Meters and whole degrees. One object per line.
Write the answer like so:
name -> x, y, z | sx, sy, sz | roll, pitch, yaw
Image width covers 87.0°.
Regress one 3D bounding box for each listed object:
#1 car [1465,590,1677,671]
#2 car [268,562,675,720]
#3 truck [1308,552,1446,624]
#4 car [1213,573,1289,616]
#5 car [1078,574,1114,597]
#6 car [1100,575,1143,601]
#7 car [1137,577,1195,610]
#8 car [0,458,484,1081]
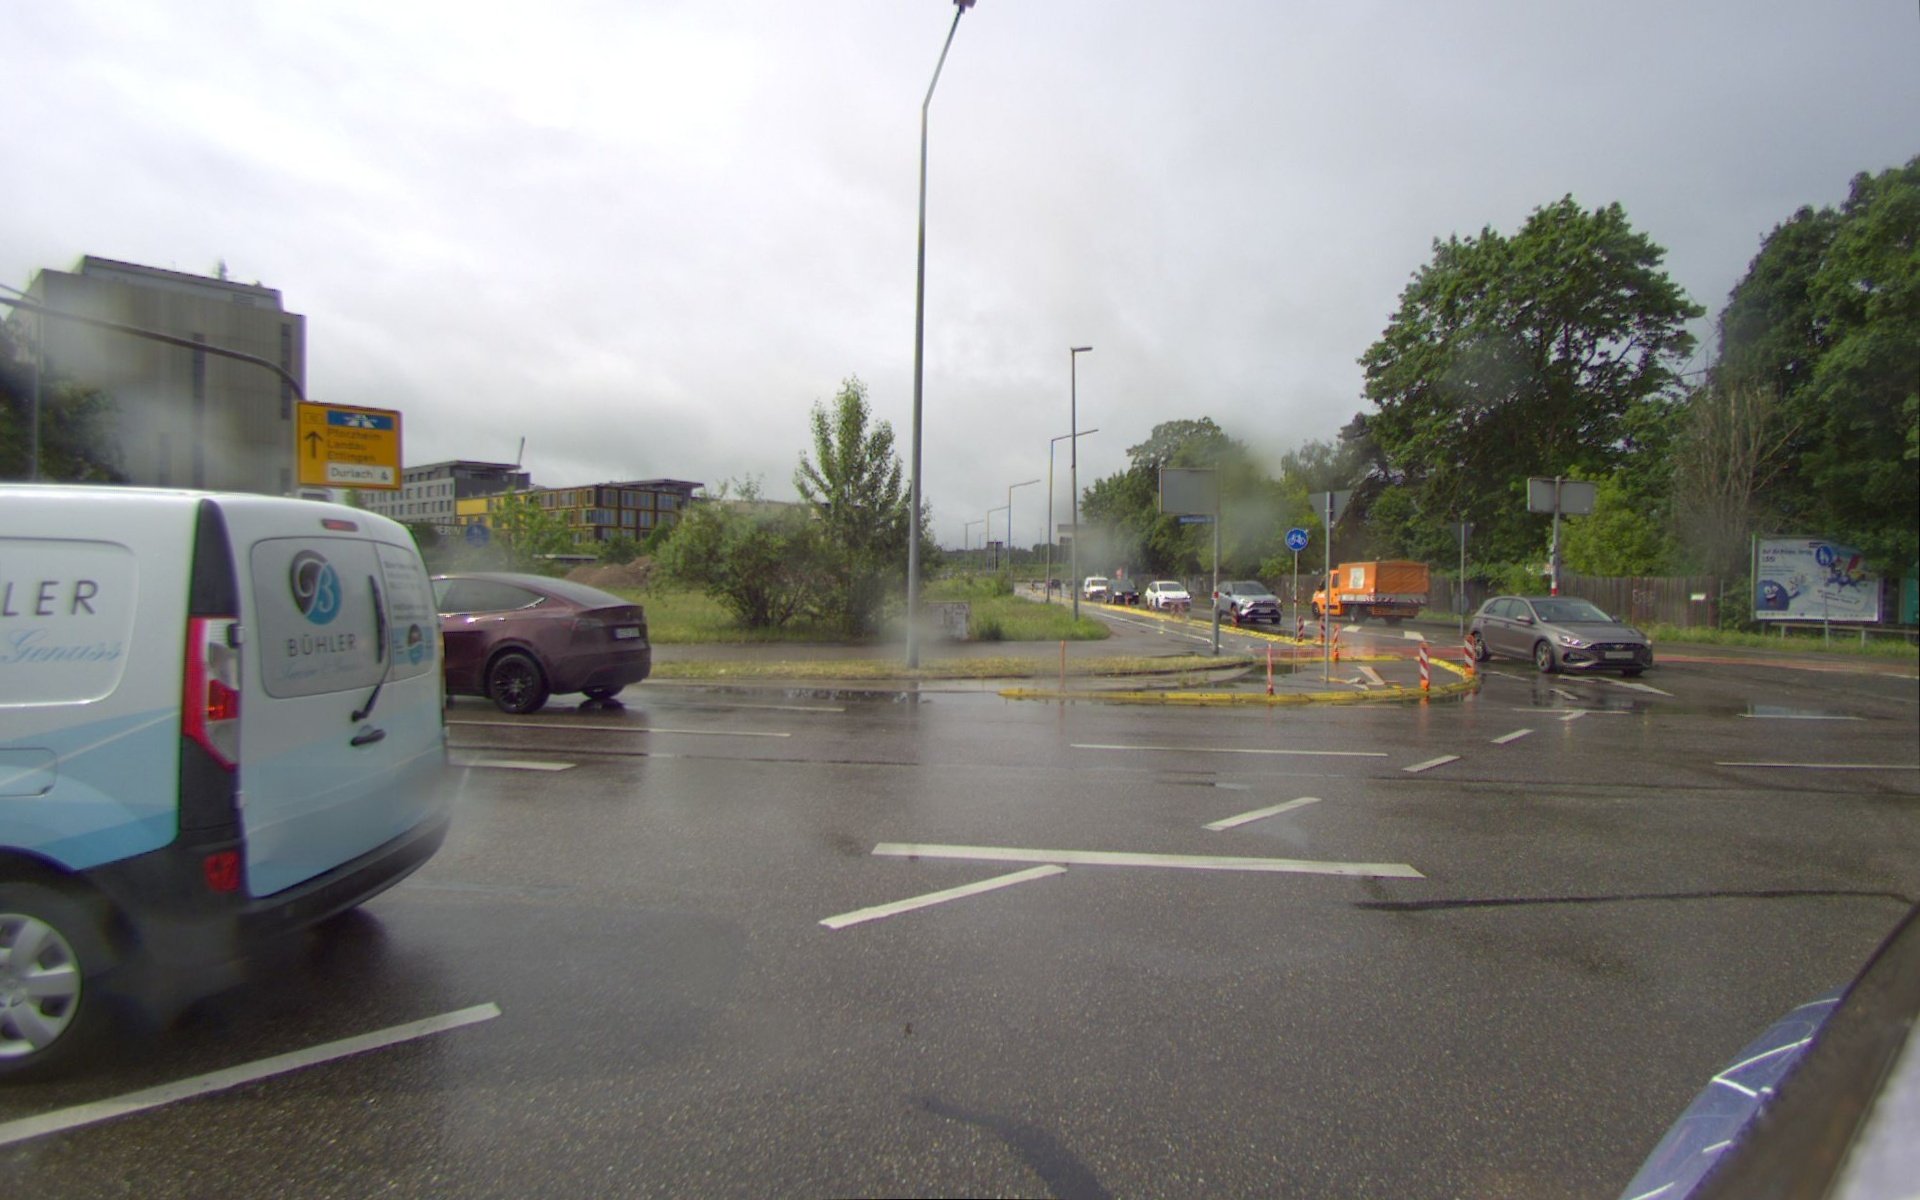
car -> 11.905, 0.524, 20.085 | 1.703, 1.431, 4.127 | 0, 0, 0
car -> -6.054, 0.426, 12.692 | 4.433, 1.678, 1.867 | 2, 1, 14
truck -> 17.419, -0.553, 42.856 | 2.413, 2.760, 6.954 | 1, 1, -5
car -> 11.814, -0.256, 41.418 | 1.840, 1.684, 4.483 | 0, 1, 0
car -> 10.400, -1.117, 77.668 | 1.838, 1.684, 4.488 | -1, 1, -4
car -> 10.836, -0.827, 68.210 | 1.838, 1.684, 4.488 | -1, 1, -4
car -> 10.957, -0.369, 54.156 | 1.838, 1.684, 4.488 | -1, 1, -4
car -> -4.428, 0.456, 3.737 | 4.462, 1.785, 1.869 | 1, 1, -3
